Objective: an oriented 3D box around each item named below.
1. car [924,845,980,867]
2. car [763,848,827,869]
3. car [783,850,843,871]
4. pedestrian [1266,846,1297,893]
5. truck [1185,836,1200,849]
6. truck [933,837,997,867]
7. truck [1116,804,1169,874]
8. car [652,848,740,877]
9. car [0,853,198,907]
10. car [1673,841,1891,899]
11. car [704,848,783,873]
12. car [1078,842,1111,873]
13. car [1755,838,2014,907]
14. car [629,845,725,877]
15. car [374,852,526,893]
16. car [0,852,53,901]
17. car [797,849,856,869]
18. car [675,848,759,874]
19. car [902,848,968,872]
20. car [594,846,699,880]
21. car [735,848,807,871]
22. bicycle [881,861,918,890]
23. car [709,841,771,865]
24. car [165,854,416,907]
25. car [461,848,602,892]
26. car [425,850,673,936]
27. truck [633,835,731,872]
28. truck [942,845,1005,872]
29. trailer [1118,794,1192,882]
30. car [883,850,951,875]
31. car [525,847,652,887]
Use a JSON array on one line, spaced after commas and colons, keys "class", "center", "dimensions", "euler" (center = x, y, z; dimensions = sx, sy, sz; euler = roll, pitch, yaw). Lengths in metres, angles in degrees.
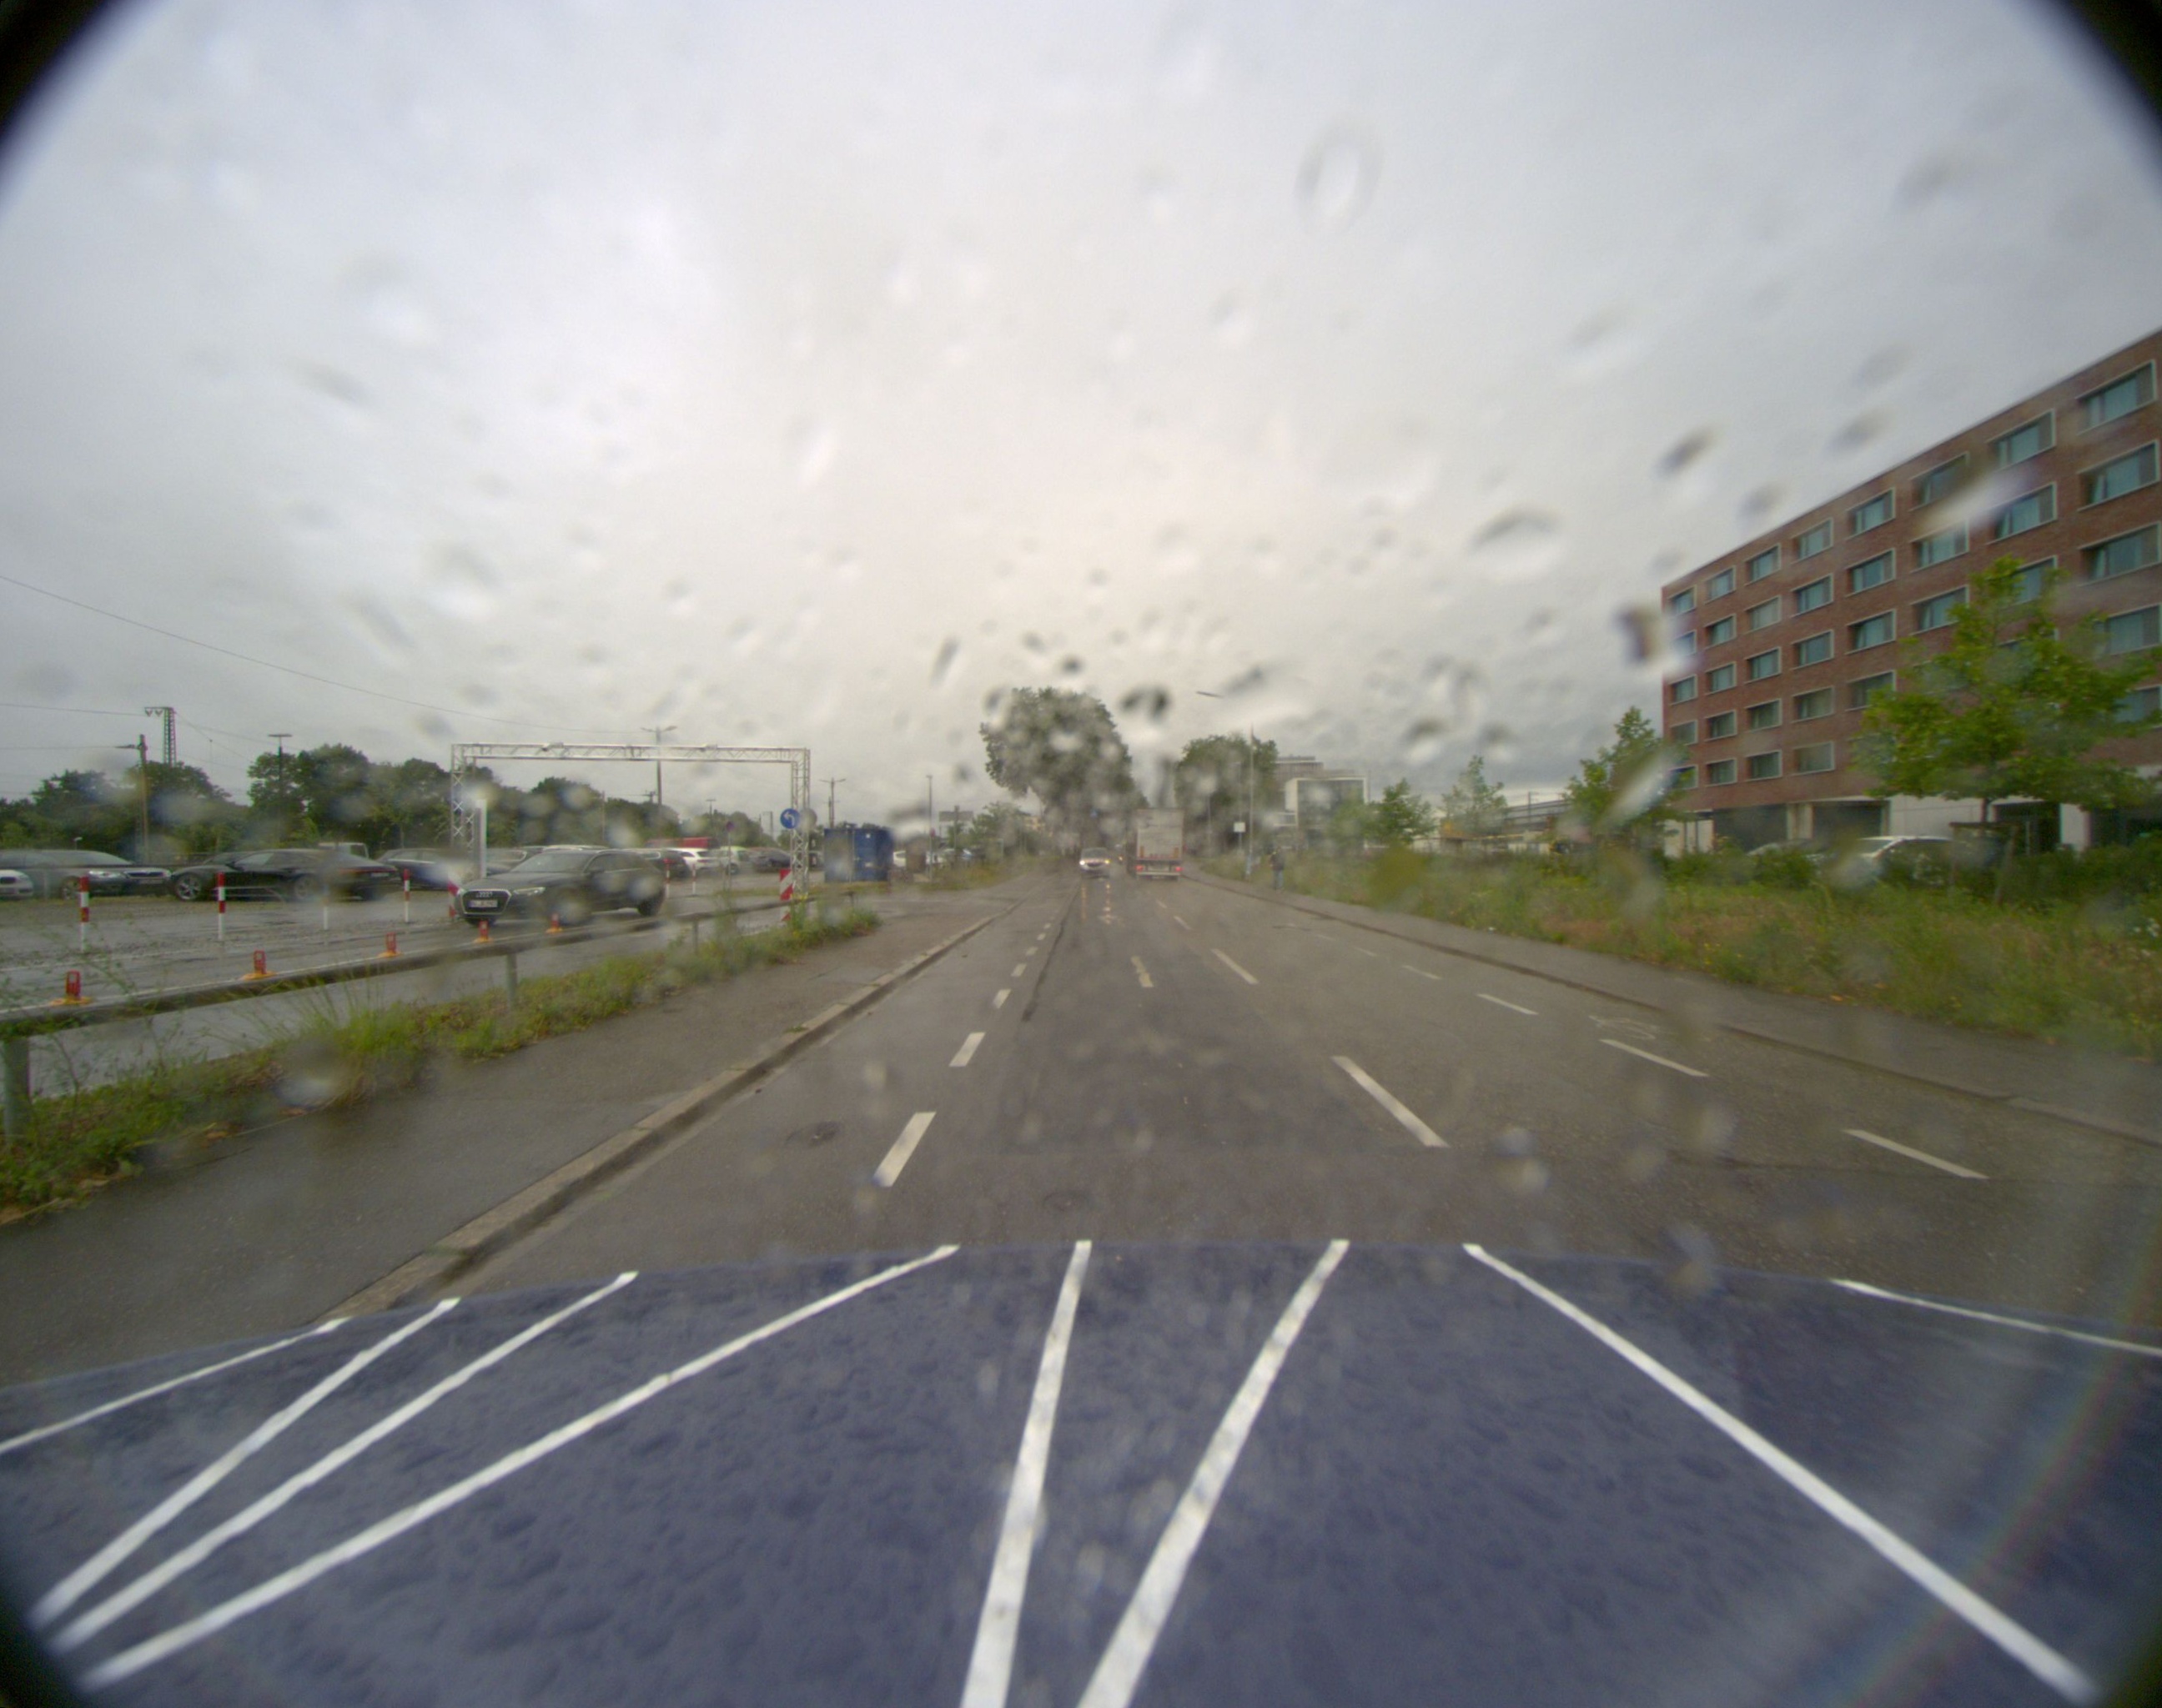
[{"class": "car", "center": [-9.818, 0.134, 57.912], "dimensions": [3.905, 1.585, 1.896], "euler": [-1, 1, -1]}, {"class": "car", "center": [-20.698, 0.297, 55.065], "dimensions": [3.961, 1.419, 1.887], "euler": [1, 2, 3]}, {"class": "car", "center": [-20.408, 0.492, 57.964], "dimensions": [3.961, 1.419, 1.821], "euler": [1, 2, 3]}, {"class": "pedestrian", "center": [7.446, 0.550, 28.292], "dimensions": [0.911, 1.708, 1.026], "euler": [0, 1, 2]}, {"class": "truck", "center": [22.755, -2.264, 155.301], "dimensions": [2.090, 2.604, 6.977], "euler": [0, 0, 0]}, {"class": "truck", "center": [-9.775, -0.171, 64.400], "dimensions": [5.046, 2.389, 2.110], "euler": [-1, 1, -1]}, {"class": "truck", "center": [4.242, -1.026, 53.630], "dimensions": [3.302, 4.627, 6.032], "euler": [0, 0, 0]}, {"class": "car", "center": [-21.133, 0.450, 41.786], "dimensions": [3.961, 1.481, 1.778], "euler": [1, 2, 3]}, {"class": "car", "center": [-26.286, 0.654, 19.968], "dimensions": [3.997, 1.324, 1.755], "euler": [0, 1, -1]}, {"class": "car", "center": [20.293, 0.433, 22.145], "dimensions": [4.533, 1.570, 1.999], "euler": [0, 1, -1]}, {"class": "car", "center": [-20.683, 0.372, 46.664], "dimensions": [3.961, 1.419, 1.887], "euler": [1, 2, 3]}, {"class": "car", "center": [0.818, 0.182, 44.885], "dimensions": [1.838, 1.714, 4.172], "euler": [0, 0, 2]}, {"class": "car", "center": [20.269, 0.434, 19.320], "dimensions": [4.533, 1.632, 1.999], "euler": [0, 1, -1]}, {"class": "car", "center": [-20.524, 0.334, 38.655], "dimensions": [3.961, 1.481, 1.778], "euler": [1, 2, 3]}, {"class": "car", "center": [-20.994, 0.598, 25.360], "dimensions": [3.895, 1.214, 1.648], "euler": [1, 2, 6]}, {"class": "car", "center": [-26.517, 0.483, 17.161], "dimensions": [4.070, 1.066, 1.831], "euler": [2, 2, 0]}, {"class": "car", "center": [-20.337, 0.419, 60.797], "dimensions": [4.074, 1.482, 1.926], "euler": [1, 2, 3]}, {"class": "car", "center": [-21.217, 0.397, 44.374], "dimensions": [3.961, 1.419, 1.887], "euler": [1, 2, 3]}, {"class": "car", "center": [-9.471, 0.393, 49.604], "dimensions": [3.905, 1.415, 1.905], "euler": [-1, 1, -1]}, {"class": "car", "center": [-20.445, 0.420, 35.856], "dimensions": [3.961, 1.481, 1.778], "euler": [1, 2, 3]}, {"class": "car", "center": [-20.302, 0.342, 49.832], "dimensions": [3.961, 1.419, 1.887], "euler": [1, 2, 3]}, {"class": "bicycle", "center": [-7.196, 0.848, 30.177], "dimensions": [0.507, 1.078, 1.705], "euler": [0, 0, 22]}, {"class": "car", "center": [-26.354, -0.079, 58.769], "dimensions": [3.995, 1.789, 1.797], "euler": [-1, 1, 5]}, {"class": "car", "center": [-20.932, 0.673, 20.276], "dimensions": [4.599, 1.214, 1.978], "euler": [1, 2, 0]}, {"class": "car", "center": [-20.351, 0.549, 28.241], "dimensions": [3.961, 1.481, 1.870], "euler": [1, 2, 3]}, {"class": "car", "center": [-10.275, 0.667, 15.166], "dimensions": [1.899, 1.448, 4.227], "euler": [1, 0, 2]}, {"class": "truck", "center": [-26.256, -0.055, 50.103], "dimensions": [5.301, 2.354, 2.153], "euler": [0, 1, 1]}, {"class": "truck", "center": [-9.868, 0.407, 69.988], "dimensions": [5.342, 2.309, 2.074], "euler": [-1, 1, 2]}, {"class": "trailer", "center": [4.212, -0.880, 46.779], "dimensions": [3.302, 4.627, 13.732], "euler": [0, 0, 0]}, {"class": "car", "center": [-10.108, 0.493, 47.014], "dimensions": [3.781, 1.385, 1.905], "euler": [-1, 1, -1]}, {"class": "car", "center": [-19.969, 0.514, 30.922], "dimensions": [3.961, 1.481, 1.870], "euler": [1, 2, 3]}]
